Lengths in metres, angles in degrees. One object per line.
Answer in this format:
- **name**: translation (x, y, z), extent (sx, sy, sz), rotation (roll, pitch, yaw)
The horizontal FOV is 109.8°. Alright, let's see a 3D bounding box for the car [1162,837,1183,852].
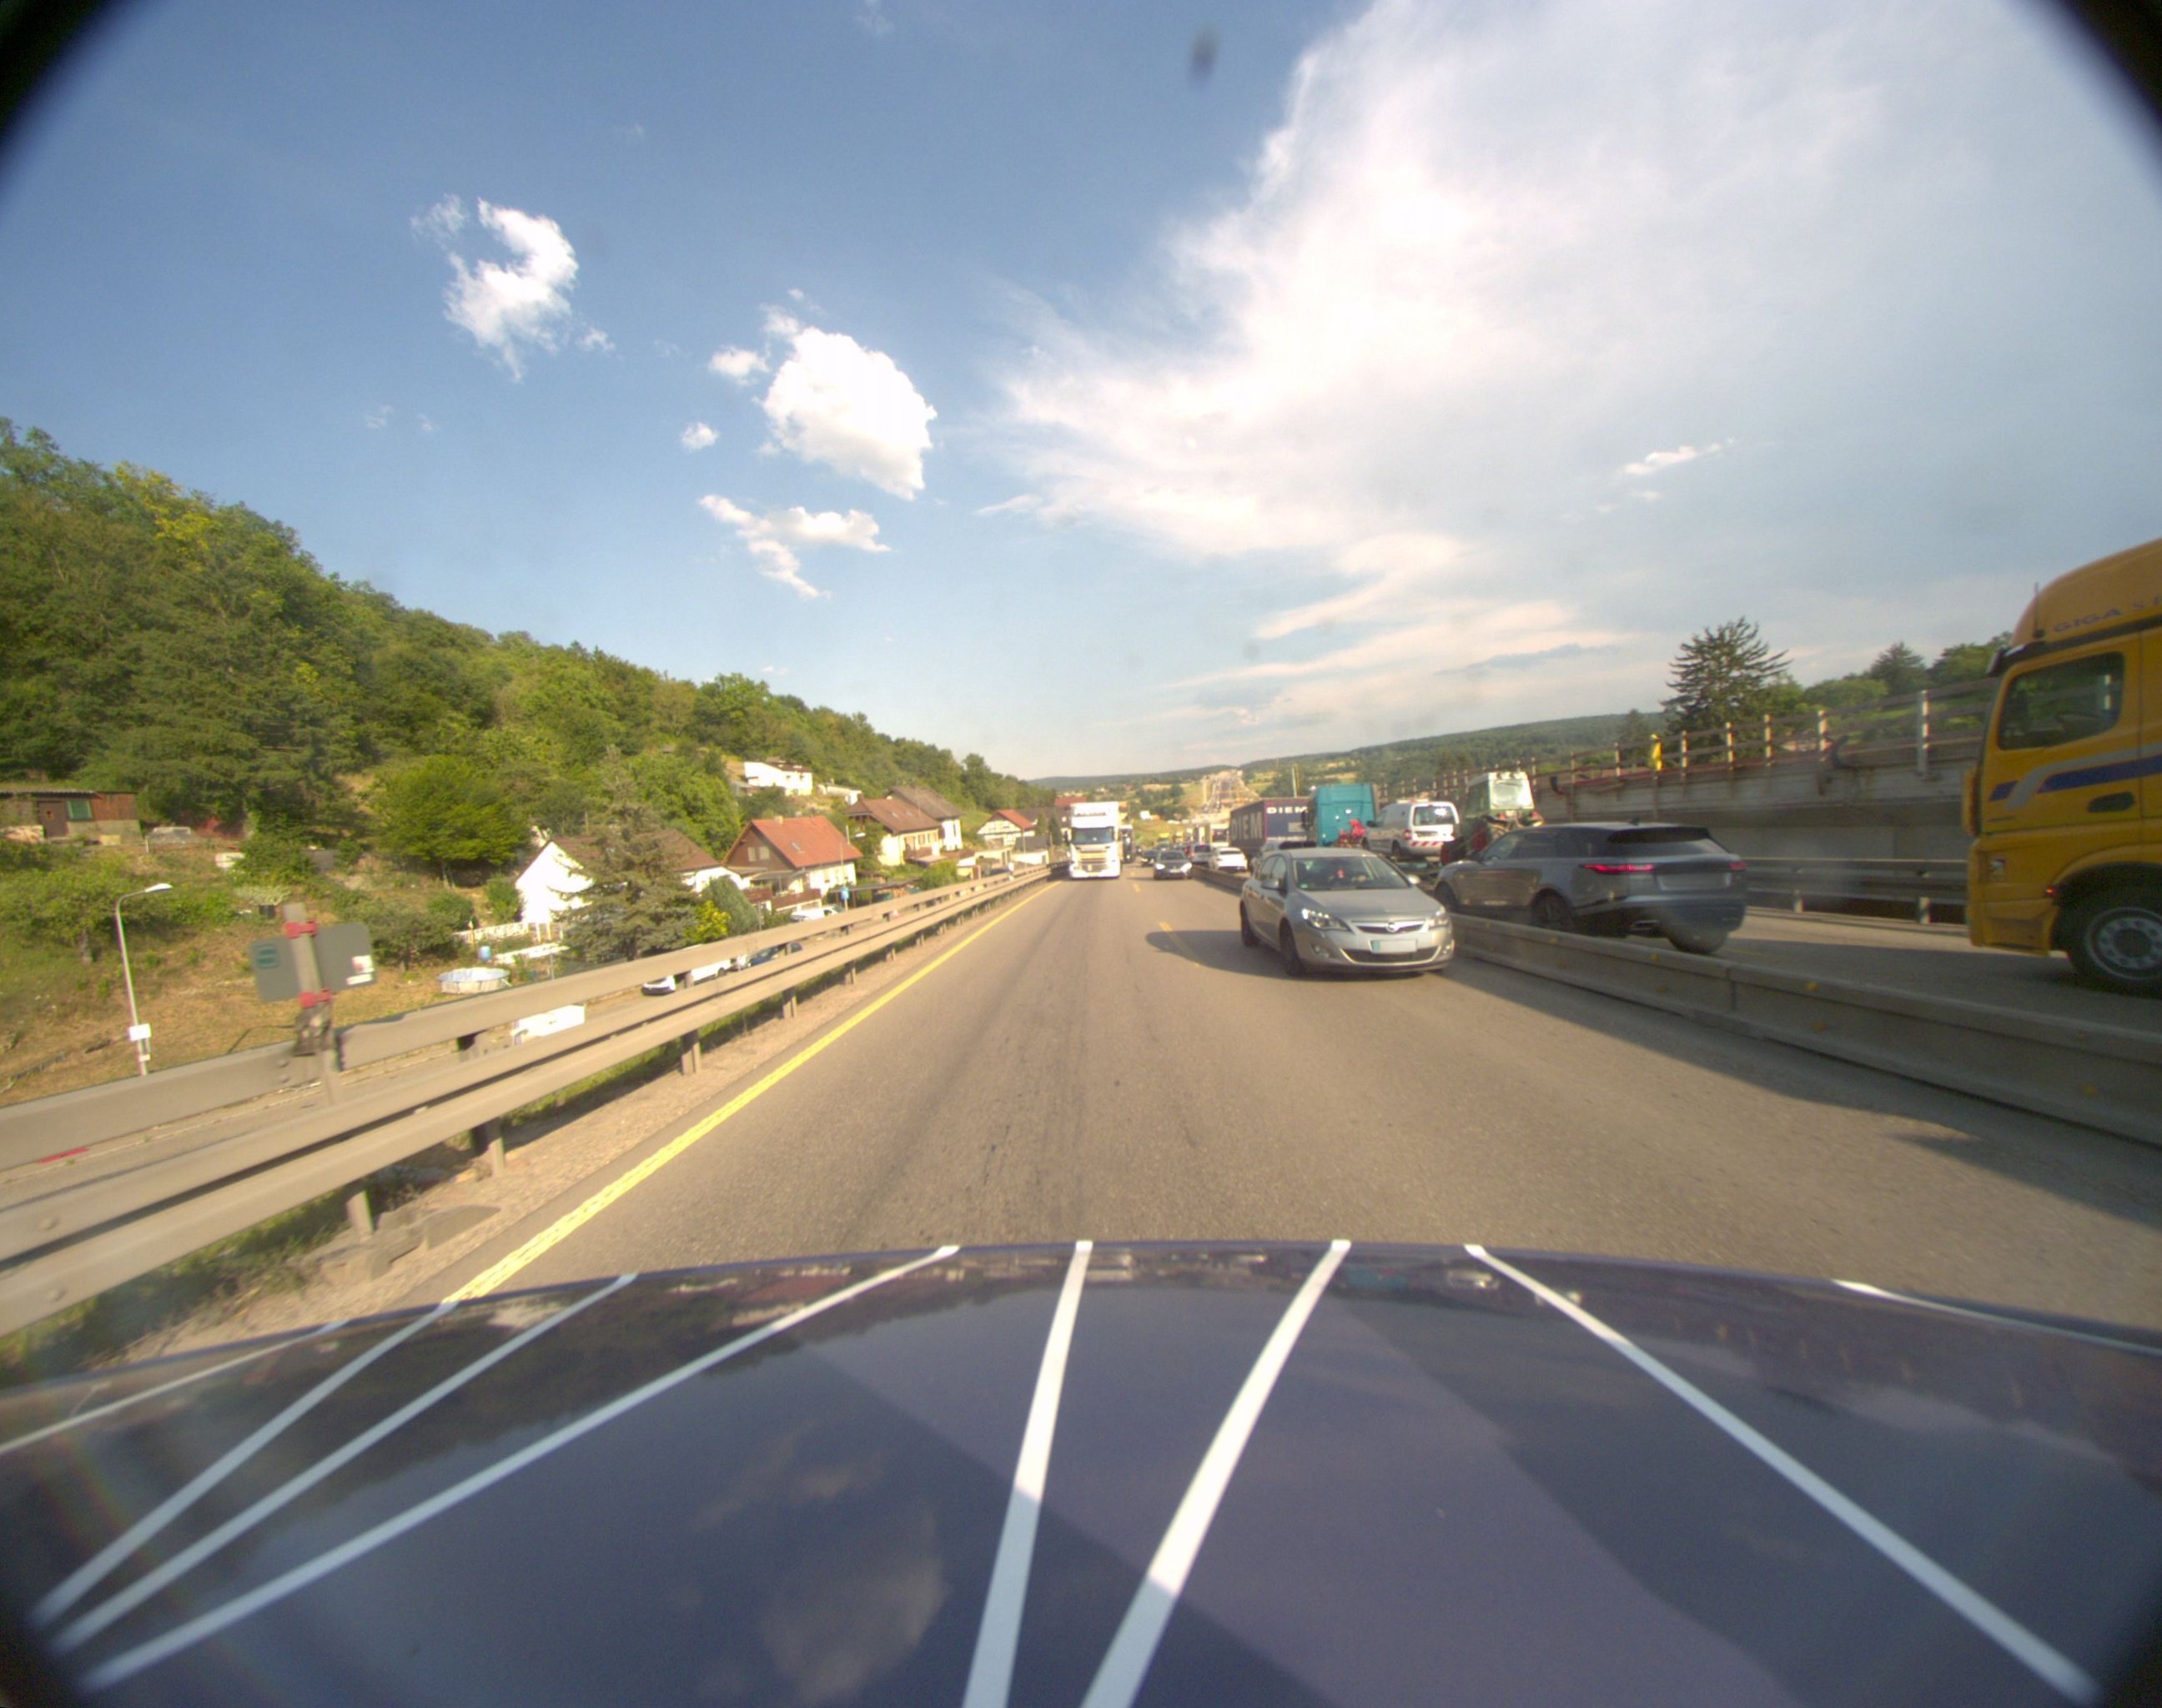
- **car**: translation (9.805, -1.036, 81.684), extent (1.881, 1.596, 5.368), rotation (0, 1, 3)

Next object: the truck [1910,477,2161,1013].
- **truck**: translation (9.656, -0.829, 4.706), extent (2.708, 4.117, 5.792), rotation (-2, 2, 1)

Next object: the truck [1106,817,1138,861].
- **truck**: translation (4.624, -1.557, 83.896), extent (2.787, 4.505, 7.193), rotation (-4, 0, 7)

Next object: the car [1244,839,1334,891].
- **car**: translation (7.367, 0.309, 27.407), extent (1.964, 1.635, 4.847), rotation (-1, 2, 1)

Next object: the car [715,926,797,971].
- **car**: translation (-19.795, 5.708, 46.551), extent (1.998, 1.907, 4.866), rotation (-1, 3, 14)

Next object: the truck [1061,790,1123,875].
- **truck**: translation (0.856, -1.211, 43.846), extent (2.892, 4.059, 13.892), rotation (-1, 2, 3)

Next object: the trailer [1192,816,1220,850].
- **trailer**: translation (16.651, -2.860, 101.793), extent (2.782, 4.179, 13.835), rotation (-1, 2, 6)

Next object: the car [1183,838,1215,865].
- **car**: translation (9.021, -0.209, 58.381), extent (1.827, 1.922, 5.129), rotation (1, 2, 3)

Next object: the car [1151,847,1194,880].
- **car**: translation (4.394, 0.432, 37.056), extent (1.823, 1.433, 4.001), rotation (-3, 1, 4)

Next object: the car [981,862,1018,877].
- **car**: translation (-11.092, 2.076, 103.467), extent (4.500, 1.518, 2.000), rotation (4, 5, 12)

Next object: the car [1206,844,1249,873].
- **car**: translation (8.312, 0.230, 43.418), extent (1.807, 1.513, 4.817), rotation (0, 1, 3)

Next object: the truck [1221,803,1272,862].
- **truck**: translation (11.995, -1.521, 55.385), extent (2.755, 4.091, 5.030), rotation (-1, 1, 2)

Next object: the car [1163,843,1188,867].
- **car**: translation (8.397, 0.037, 67.667), extent (1.837, 1.952, 4.899), rotation (-2, 2, 3)

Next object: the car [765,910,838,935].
- **car**: translation (-21.651, 5.302, 58.924), extent (5.099, 1.548, 1.716), rotation (-2, 3, 11)

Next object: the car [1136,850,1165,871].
- **car**: translation (5.898, 0.515, 64.856), extent (1.998, 1.565, 3.999), rotation (-2, 2, 0)

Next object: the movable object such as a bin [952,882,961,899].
- **movable object such as a bin**: translation (-13.422, 3.904, 81.878), extent (0.490, 1.760, 0.414), rotation (-11, 1, 16)

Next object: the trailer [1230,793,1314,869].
- **trailer**: translation (11.613, -1.352, 47.528), extent (2.721, 4.099, 12.492), rotation (-1, 1, 3)

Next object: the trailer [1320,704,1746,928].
- **trailer**: translation (10.216, -0.781, 20.985), extent (2.755, 3.794, 16.046), rotation (-1, 1, 2)

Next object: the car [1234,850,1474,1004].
- **car**: translation (3.177, 0.739, 9.753), extent (1.809, 1.478, 4.119), rotation (-2, 1, 4)

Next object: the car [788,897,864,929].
- **car**: translation (-20.945, 4.848, 62.473), extent (5.476, 2.251, 2.001), rotation (-3, 3, 11)

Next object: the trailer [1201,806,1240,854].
- **trailer**: translation (13.815, -2.332, 75.871), extent (2.918, 4.440, 7.153), rotation (-2, 1, 4)

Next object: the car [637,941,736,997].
- **car**: translation (-21.110, 6.110, 40.927), extent (1.865, 1.975, 5.053), rotation (-1, 3, 11)

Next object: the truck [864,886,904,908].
- **truck**: translation (-18.835, 4.052, 72.450), extent (2.002, 1.729, 3.990), rotation (-12, 5, -38)

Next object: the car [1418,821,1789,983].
- **car**: translation (6.623, 0.459, 10.468), extent (1.932, 1.692, 4.690), rotation (-1, 2, 1)

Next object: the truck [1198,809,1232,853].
- **truck**: translation (14.227, -2.454, 81.060), extent (2.926, 4.489, 5.028), rotation (-2, 1, 4)

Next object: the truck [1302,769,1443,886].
- **truck**: translation (10.512, -0.907, 28.297), extent (2.755, 3.784, 7.111), rotation (-1, 1, 2)

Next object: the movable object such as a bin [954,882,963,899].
- **movable object such as a bin**: translation (-13.301, 3.914, 82.291), extent (0.490, 1.760, 0.414), rotation (-11, 1, 16)

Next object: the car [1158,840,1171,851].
- **car**: translation (12.804, -1.312, 116.789), extent (1.778, 1.449, 4.814), rotation (-3, 2, 5)

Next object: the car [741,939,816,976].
- **car**: translation (-17.508, 5.997, 44.154), extent (1.769, 1.588, 3.623), rotation (-6, -1, 29)
